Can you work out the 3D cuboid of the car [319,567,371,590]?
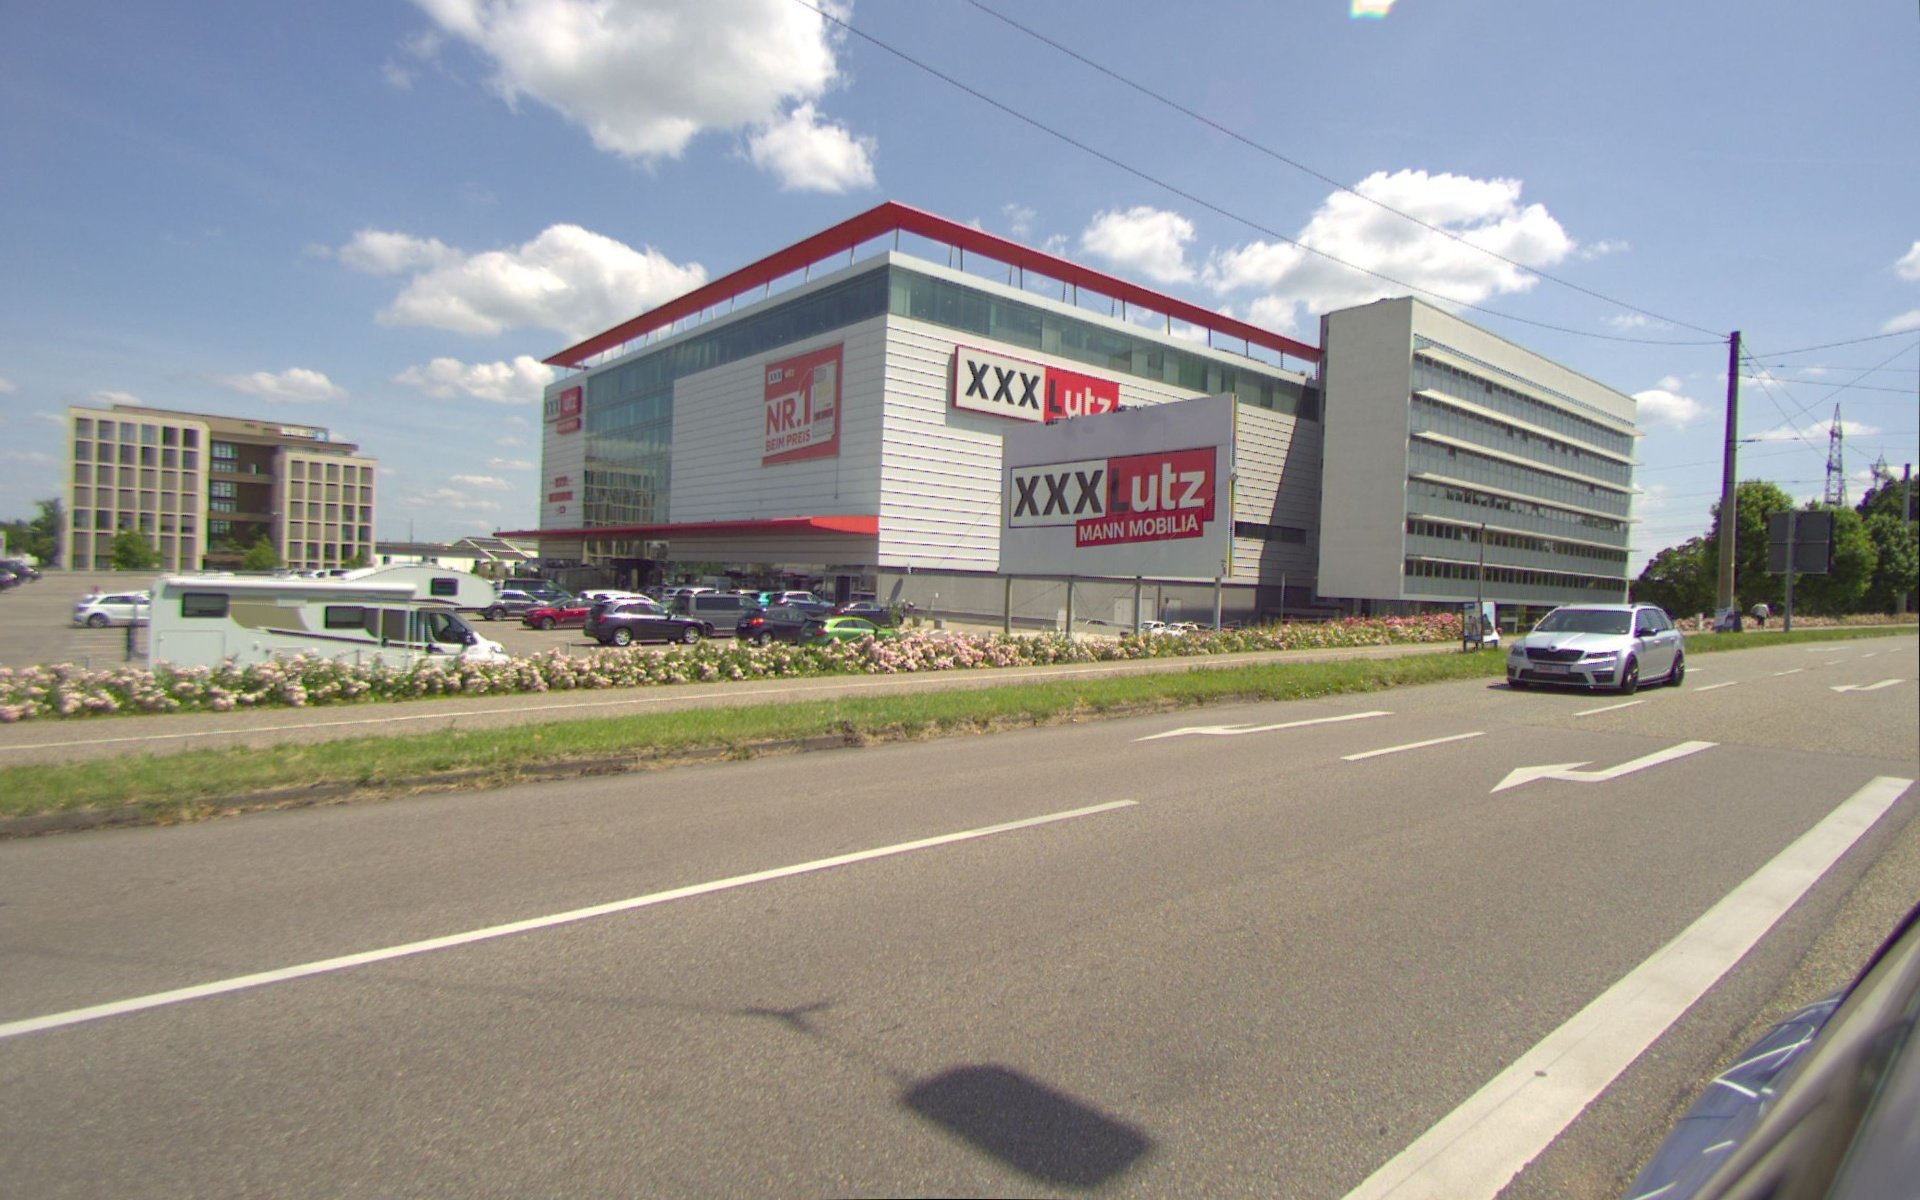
[{"bbox_3d":[-56.620,-1.957,93.225,3.926,2.039,1.999,0,0,-37],"label":"car"}]

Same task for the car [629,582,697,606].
[{"bbox_3d":[-22.229,-0.459,75.859,4.441,1.714,1.997,0,0,-42],"label":"car"}]

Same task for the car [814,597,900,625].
[{"bbox_3d":[-5.490,0.579,54.199,4.441,1.418,1.697,0,0,-41],"label":"car"}]

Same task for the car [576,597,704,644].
[{"bbox_3d":[-12.614,0.747,40.012,4.423,1.738,1.997,0,0,-40],"label":"car"}]

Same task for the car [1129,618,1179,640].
[{"bbox_3d":[15.932,2.331,83.083,3.930,1.668,1.997,0,0,-41],"label":"car"}]

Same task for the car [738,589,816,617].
[{"bbox_3d":[-11.416,0.163,63.292,4.439,1.714,1.998,0,0,-40],"label":"car"}]

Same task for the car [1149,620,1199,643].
[{"bbox_3d":[17.007,2.508,80.380,3.930,1.668,1.997,0,0,-41],"label":"car"}]

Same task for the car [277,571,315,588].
[{"bbox_3d":[-73.250,-2.203,111.656,3.320,1.828,1.701,0,0,-39],"label":"car"}]

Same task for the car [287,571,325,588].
[{"bbox_3d":[-70.938,-2.190,109.772,3.320,1.828,1.701,0,0,-39],"label":"car"}]

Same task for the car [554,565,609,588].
[{"bbox_3d":[-33.808,-2.062,90.389,4.209,2.039,1.849,0,0,-39],"label":"car"}]

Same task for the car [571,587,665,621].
[{"bbox_3d":[-18.560,0.210,54.995,4.439,1.756,1.998,0,0,-40],"label":"car"}]

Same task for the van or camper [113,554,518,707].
[{"bbox_3d":[-14.395,0.567,23.090,7.476,2.983,2.715,0,0,-39],"label":"van or camper"}]

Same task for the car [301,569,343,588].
[{"bbox_3d":[-63.347,-2.117,100.531,3.320,1.828,1.701,0,0,-39],"label":"car"}]

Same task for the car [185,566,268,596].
[{"bbox_3d":[-45.391,-1.154,62.633,4.094,1.723,1.853,1,1,-38],"label":"car"}]

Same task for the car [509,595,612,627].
[{"bbox_3d":[-18.905,0.504,47.960,4.180,1.430,1.858,0,0,-40],"label":"car"}]

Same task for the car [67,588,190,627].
[{"bbox_3d":[-35.844,0.303,43.691,1.849,1.565,3.935,1,0,45],"label":"car"}]

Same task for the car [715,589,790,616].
[{"bbox_3d":[-13.583,0.139,66.481,4.441,1.714,1.997,0,0,-42],"label":"car"}]

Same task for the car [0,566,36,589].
[{"bbox_3d":[-87.862,-2.077,93.189,3.928,2.039,1.998,1,0,-40],"label":"car"}]

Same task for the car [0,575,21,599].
[{"bbox_3d":[-68.364,-0.923,70.606,3.925,1.705,1.999,0,0,-37],"label":"car"}]

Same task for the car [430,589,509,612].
[{"bbox_3d":[-29.027,0.029,59.986,3.930,1.326,1.692,0,0,-41],"label":"car"}]

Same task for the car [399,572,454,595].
[{"bbox_3d":[-47.027,-1.444,89.253,3.930,2.039,1.997,0,0,-41],"label":"car"}]

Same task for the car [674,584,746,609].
[{"bbox_3d":[-17.383,-0.239,70.527,4.441,1.714,1.997,0,0,-42],"label":"car"}]

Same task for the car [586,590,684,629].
[{"bbox_3d":[-16.940,0.481,52.841,4.439,1.918,1.998,0,0,-40],"label":"car"}]

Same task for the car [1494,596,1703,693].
[{"bbox_3d":[10.874,0.663,17.112,4.382,1.416,1.801,0,0,-41],"label":"car"}]

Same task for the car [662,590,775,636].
[{"bbox_3d":[-10.681,0.544,44.891,4.439,1.918,1.998,0,0,-40],"label":"car"}]

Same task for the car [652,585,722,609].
[{"bbox_3d":[-19.464,-0.209,72.306,4.441,1.714,1.997,0,0,-42],"label":"car"}]

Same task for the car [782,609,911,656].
[{"bbox_3d":[-4.217,1.174,37.897,4.438,1.583,1.998,0,0,-39],"label":"car"}]

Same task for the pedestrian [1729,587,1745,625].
[{"bbox_3d":[37.880,0.297,49.349,0.623,1.816,0.518,1,0,-41],"label":"pedestrian"}]

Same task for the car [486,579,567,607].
[{"bbox_3d":[-28.127,-0.460,65.688,4.439,1.756,1.998,0,1,-40],"label":"car"}]

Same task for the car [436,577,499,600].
[{"bbox_3d":[-38.233,-0.878,78.668,4.096,1.723,1.853,0,0,-39],"label":"car"}]

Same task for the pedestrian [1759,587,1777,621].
[{"bbox_3d":[40.222,0.198,50.360,0.623,1.676,0.599,1,0,-41],"label":"pedestrian"}]

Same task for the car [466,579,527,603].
[{"bbox_3d":[-33.340,-0.639,72.874,3.664,1.622,1.692,0,0,-41],"label":"car"}]

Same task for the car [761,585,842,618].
[{"bbox_3d":[-9.537,0.068,60.942,4.439,1.946,1.998,0,0,-40],"label":"car"}]

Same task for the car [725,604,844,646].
[{"bbox_3d":[-7.192,0.981,41.622,4.439,1.574,1.998,0,0,-40],"label":"car"}]

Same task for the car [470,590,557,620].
[{"bbox_3d":[-23.638,0.261,53.589,3.928,1.545,1.649,0,0,-39],"label":"car"}]

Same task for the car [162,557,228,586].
[{"bbox_3d":[-57.503,-2.121,76.098,3.929,2.039,1.544,0,0,-40],"label":"car"}]
